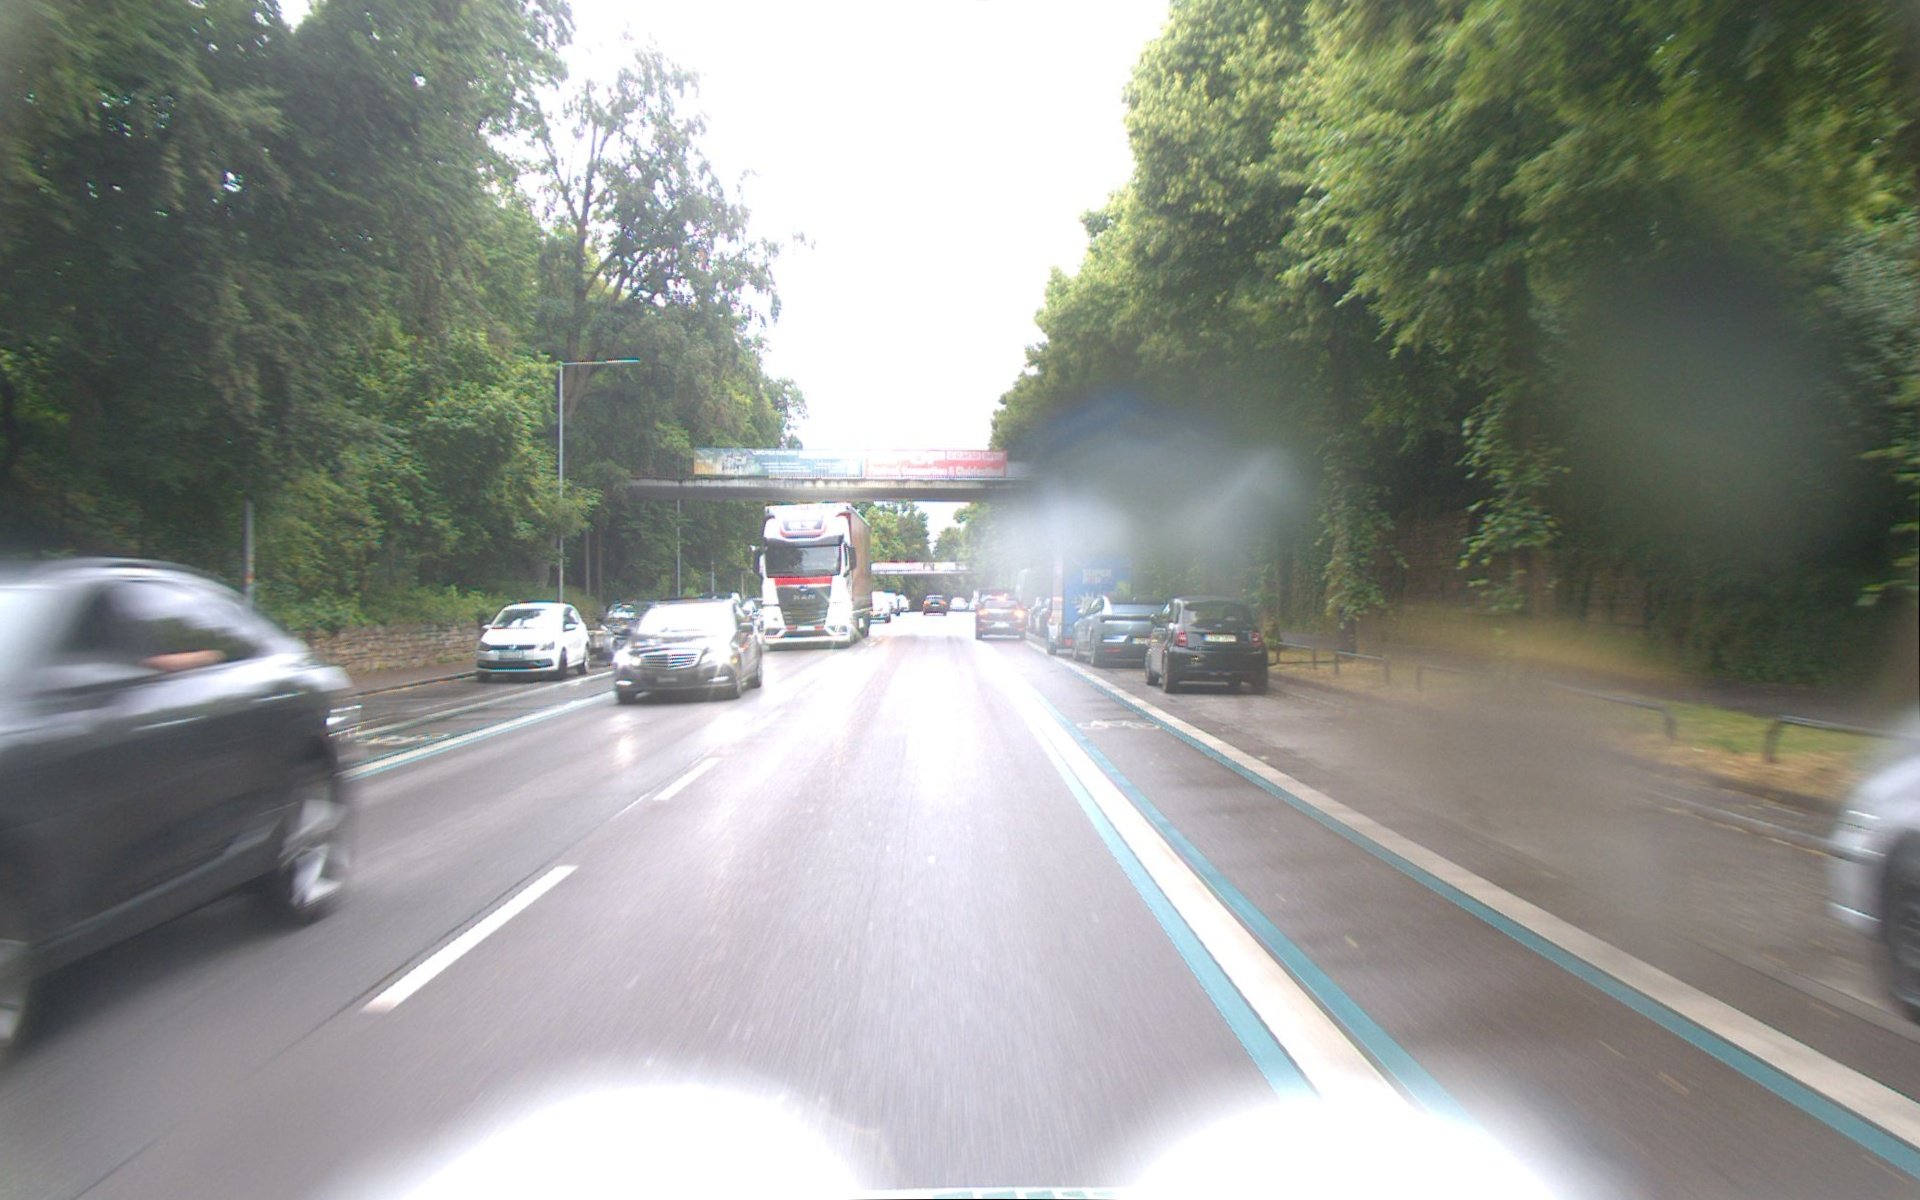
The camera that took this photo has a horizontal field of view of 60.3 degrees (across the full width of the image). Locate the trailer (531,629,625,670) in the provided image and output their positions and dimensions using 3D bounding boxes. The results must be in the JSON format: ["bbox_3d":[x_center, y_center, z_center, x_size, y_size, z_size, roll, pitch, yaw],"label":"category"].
[{"bbox_3d":[-8.748,1.116,38.056,1.512,0.833,3.303,0,0,-2],"label":"trailer"}]

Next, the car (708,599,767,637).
[{"bbox_3d":[-9.357,0.737,69.765,1.943,1.498,4.896,0,1,-2],"label":"car"}]

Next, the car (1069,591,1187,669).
[{"bbox_3d":[3.666,0.608,36.889,1.862,1.574,4.752,1,0,-3],"label":"car"}]

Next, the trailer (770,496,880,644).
[{"bbox_3d":[-4.355,-0.928,56.071,2.633,4.333,12.767,-3,0,-1],"label":"trailer"}]

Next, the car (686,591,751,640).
[{"bbox_3d":[-9.342,0.555,64.335,1.950,1.772,4.837,-1,1,-2],"label":"car"}]

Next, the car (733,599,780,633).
[{"bbox_3d":[-9.328,0.732,76.215,1.748,1.448,4.294,-1,1,-2],"label":"car"}]

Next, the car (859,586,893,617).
[{"bbox_3d":[-4.660,0.091,92.216,1.797,1.695,4.179,0,0,-1],"label":"car"}]

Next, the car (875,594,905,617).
[{"bbox_3d":[-5.089,0.376,120.878,1.925,1.656,4.321,-1,0,1],"label":"car"}]

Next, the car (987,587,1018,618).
[{"bbox_3d":[2.908,0.136,113.346,1.887,2.057,4.663,1,0,-1],"label":"car"}]

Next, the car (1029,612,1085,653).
[{"bbox_3d":[3.550,1.175,60.941,1.652,1.441,4.195,0,0,-2],"label":"car"}]

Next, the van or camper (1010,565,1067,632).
[{"bbox_3d":[3.436,-0.080,73.713,2.001,2.777,6.898,1,0,-2],"label":"van or camper"}]

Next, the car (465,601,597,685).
[{"bbox_3d":[-8.524,0.814,33.165,1.753,1.508,3.980,-1,1,-3],"label":"car"}]

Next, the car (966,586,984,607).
[{"bbox_3d":[1.598,-0.383,173.333,1.850,2.164,4.045,0,0,0],"label":"car"}]

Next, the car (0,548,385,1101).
[{"bbox_3d":[-3.858,0.699,6.088,1.921,1.645,4.465,-2,0,-1],"label":"car"}]

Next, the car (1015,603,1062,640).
[{"bbox_3d":[3.141,0.848,66.688,1.651,1.441,4.099,1,0,-1],"label":"car"}]

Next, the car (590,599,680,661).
[{"bbox_3d":[-8.518,0.751,43.625,1.795,1.502,4.037,-1,1,-4],"label":"car"}]

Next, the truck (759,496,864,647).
[{"bbox_3d":[-4.290,-0.796,48.547,2.466,4.117,4.916,-2,0,0],"label":"truck"}]

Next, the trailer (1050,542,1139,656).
[{"bbox_3d":[3.435,-0.036,42.834,1.913,2.807,4.006,0,0,-1],"label":"trailer"}]

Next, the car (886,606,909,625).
[{"bbox_3d":[-5.598,1.386,148.671,1.882,1.588,4.620,1,0,-1],"label":"car"}]

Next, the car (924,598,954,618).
[{"bbox_3d":[-1.582,0.588,123.438,2.097,1.518,4.496,0,0,-3],"label":"car"}]

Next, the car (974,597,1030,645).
[{"bbox_3d":[1.405,0.674,56.450,1.781,1.534,4.139,-1,0,0],"label":"car"}]

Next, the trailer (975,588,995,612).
[{"bbox_3d":[2.361,0.015,156.511,1.845,2.204,3.807,-1,0,0],"label":"trailer"}]

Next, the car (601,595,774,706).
[{"bbox_3d":[-4.104,0.710,25.672,1.876,1.482,4.620,-2,0,0],"label":"car"}]

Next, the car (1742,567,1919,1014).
[{"bbox_3d":[4.382,0.710,4.981,1.718,1.625,4.739,1,0,-1],"label":"car"}]

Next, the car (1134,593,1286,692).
[{"bbox_3d":[4.118,0.655,27.945,1.788,1.529,4.569,0,0,-1],"label":"car"}]

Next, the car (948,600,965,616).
[{"bbox_3d":[-0.419,0.854,173.575,1.696,1.611,4.035,-1,0,-1],"label":"car"}]
